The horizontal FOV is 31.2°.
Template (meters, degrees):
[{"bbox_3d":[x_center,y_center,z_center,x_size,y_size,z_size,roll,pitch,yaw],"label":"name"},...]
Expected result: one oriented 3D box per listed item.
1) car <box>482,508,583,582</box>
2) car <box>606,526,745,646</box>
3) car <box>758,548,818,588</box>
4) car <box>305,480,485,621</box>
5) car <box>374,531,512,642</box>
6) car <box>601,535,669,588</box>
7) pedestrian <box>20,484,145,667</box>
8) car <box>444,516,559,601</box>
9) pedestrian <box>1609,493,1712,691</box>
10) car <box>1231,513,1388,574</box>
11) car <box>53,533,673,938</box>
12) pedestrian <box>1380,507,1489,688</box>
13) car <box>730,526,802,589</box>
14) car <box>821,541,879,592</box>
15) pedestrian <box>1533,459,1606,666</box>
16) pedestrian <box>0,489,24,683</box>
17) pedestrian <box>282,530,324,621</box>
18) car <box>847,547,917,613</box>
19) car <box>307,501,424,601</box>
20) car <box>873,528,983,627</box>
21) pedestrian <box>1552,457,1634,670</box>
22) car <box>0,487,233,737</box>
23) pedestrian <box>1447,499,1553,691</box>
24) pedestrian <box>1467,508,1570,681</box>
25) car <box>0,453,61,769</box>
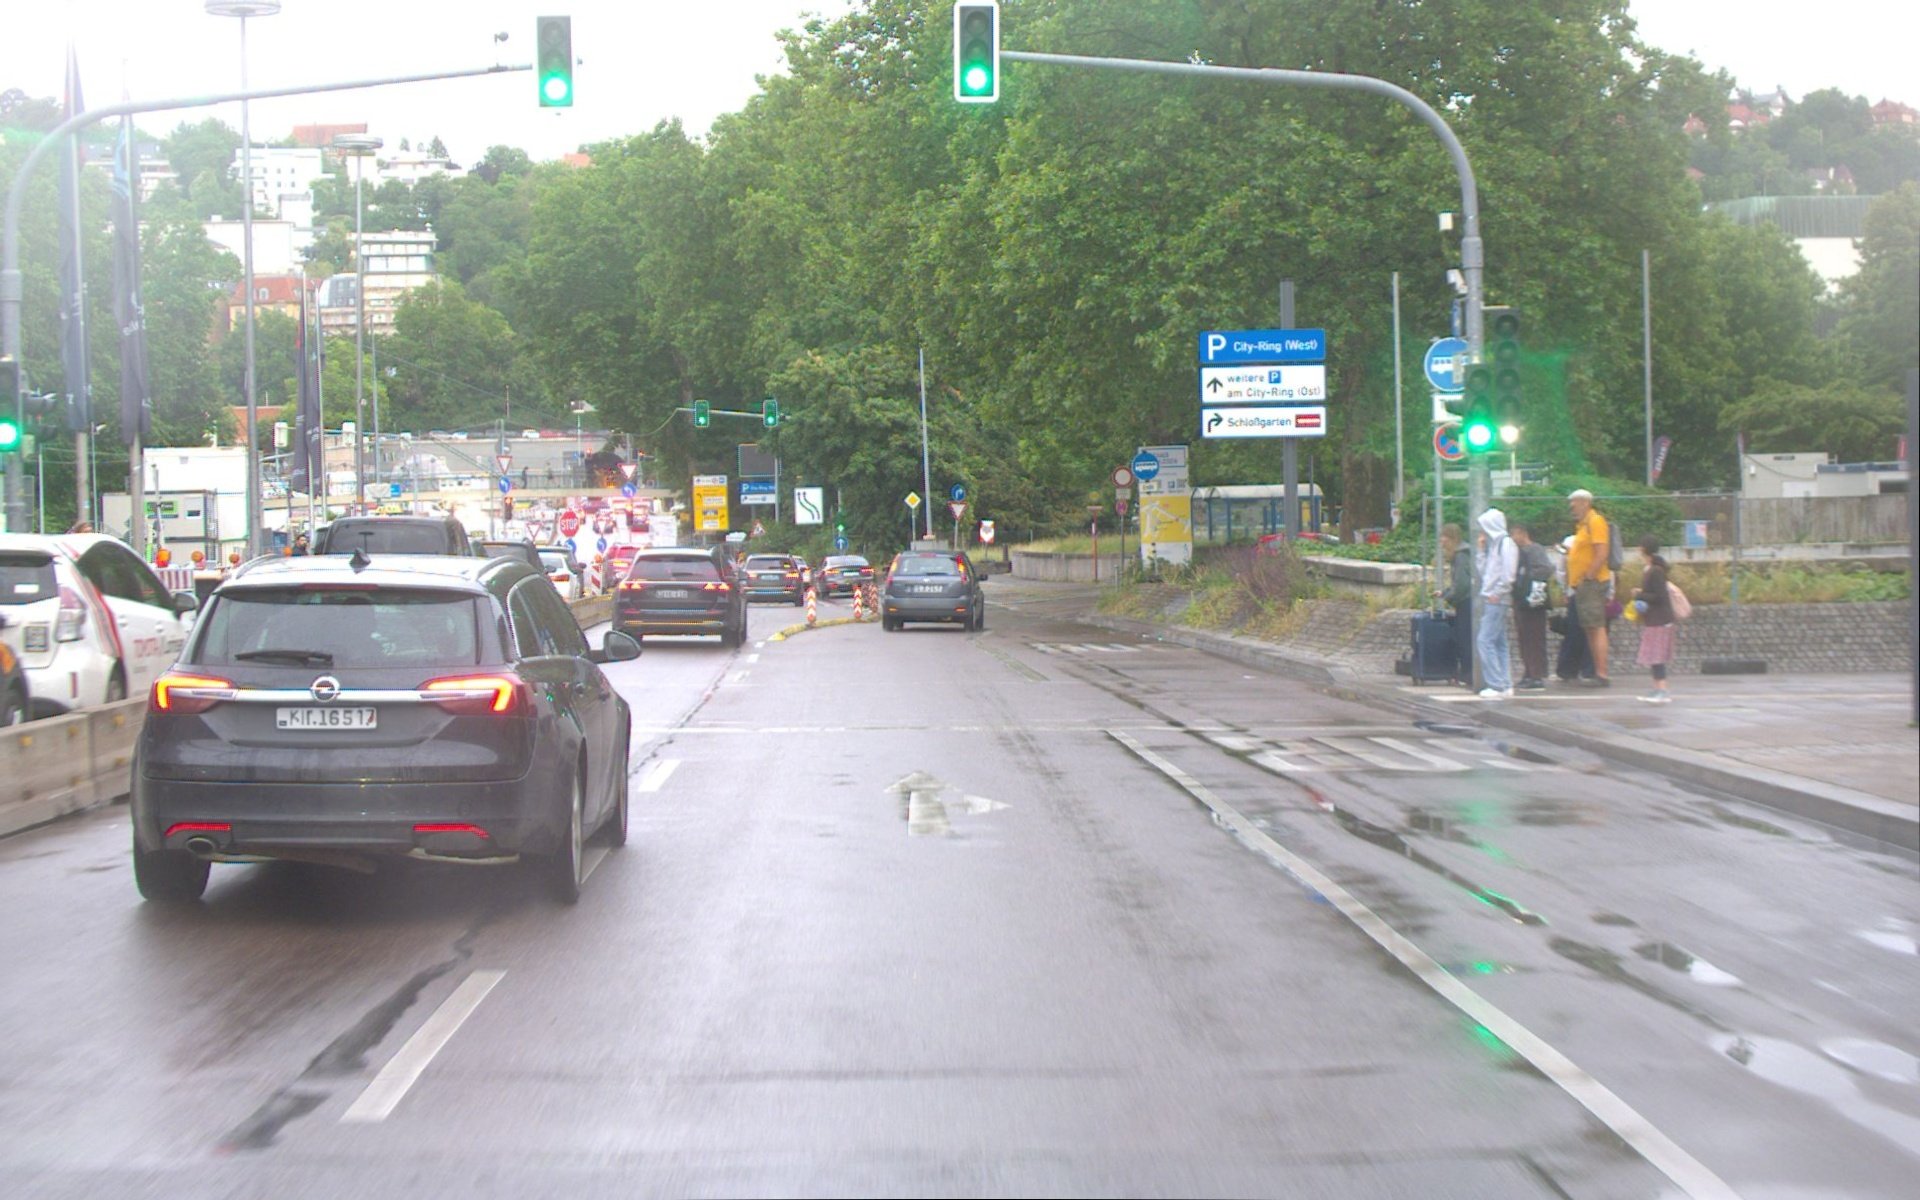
[{"bbox_3d":[-9.756,-1.250,78.820,1.993,1.562,4.876,-2,1,-4],"label":"car"},{"bbox_3d":[-4.190,-0.239,51.136,1.830,1.680,4.134,-1,1,-2],"label":"car"},{"bbox_3d":[-6.844,-1.279,136.377,1.813,1.569,4.001,0,1,-11],"label":"car"},{"bbox_3d":[-7.720,-0.677,47.365,1.993,1.839,5.063,0,1,-4],"label":"car"},{"bbox_3d":[-8.177,-0.233,54.701,1.823,1.690,4.775,0,1,-4],"label":"car"},{"bbox_3d":[-11.249,-1.336,118.893,1.993,1.820,4.001,0,1,-10],"label":"car"},{"bbox_3d":[-9.144,-0.257,35.838,1.005,1.880,0.682,-1,1,22],"label":"pedestrian"},{"bbox_3d":[-8.415,-0.760,63.359,1.823,1.506,4.491,0,1,-4],"label":"car"},{"bbox_3d":[6.474,-0.074,31.794,0.539,1.798,0.758,-2,1,-28],"label":"pedestrian"},{"bbox_3d":[8.860,-1.424,87.242,3.615,1.500,1.730,1,1,38],"label":"car"},{"bbox_3d":[-2.446,0.466,15.347,1.877,1.503,4.852,-1,1,0],"label":"car"},{"bbox_3d":[4.930,-0.033,35.743,0.786,1.832,0.951,-1,1,-15],"label":"pedestrian"},{"bbox_3d":[-5.334,-1.170,94.775,1.904,1.711,4.000,0,1,-2],"label":"car"},{"bbox_3d":[-3.577,-1.081,111.384,1.634,1.619,3.796,0,1,-5],"label":"car"},{"bbox_3d":[6.404,-0.397,36.126,0.709,2.138,0.721,-1,1,10],"label":"pedestrian"},{"bbox_3d":[-9.666,-0.139,33.703,0.830,1.879,0.691,-1,2,-10],"label":"pedestrian"},{"bbox_3d":[-12.739,-0.474,66.655,0.635,1.747,0.822,0,0,3],"label":"pedestrian"},{"bbox_3d":[-1.894,-0.502,84.093,1.674,1.576,3.240,0,1,-1],"label":"car"},{"bbox_3d":[-12.382,-1.025,71.884,1.993,2.007,5.371,0,1,-5],"label":"car"},{"bbox_3d":[-0.604,-0.419,61.579,1.851,1.711,4.000,0,1,-2],"label":"car"},{"bbox_3d":[6.448,-0.371,35.023,0.554,2.138,0.668,-1,1,-15],"label":"pedestrian"},{"bbox_3d":[-6.822,0.053,25.636,1.786,1.680,4.667,-1,1,0],"label":"car"},{"bbox_3d":[5.151,-0.056,32.845,0.745,1.798,0.710,-1,1,-15],"label":"pedestrian"},{"bbox_3d":[5.572,-0.062,34.357,0.875,1.685,0.758,-1,1,0],"label":"pedestrian"},{"bbox_3d":[-6.592,0.099,19.604,1.713,1.885,4.610,-1,1,0],"label":"car"}]
